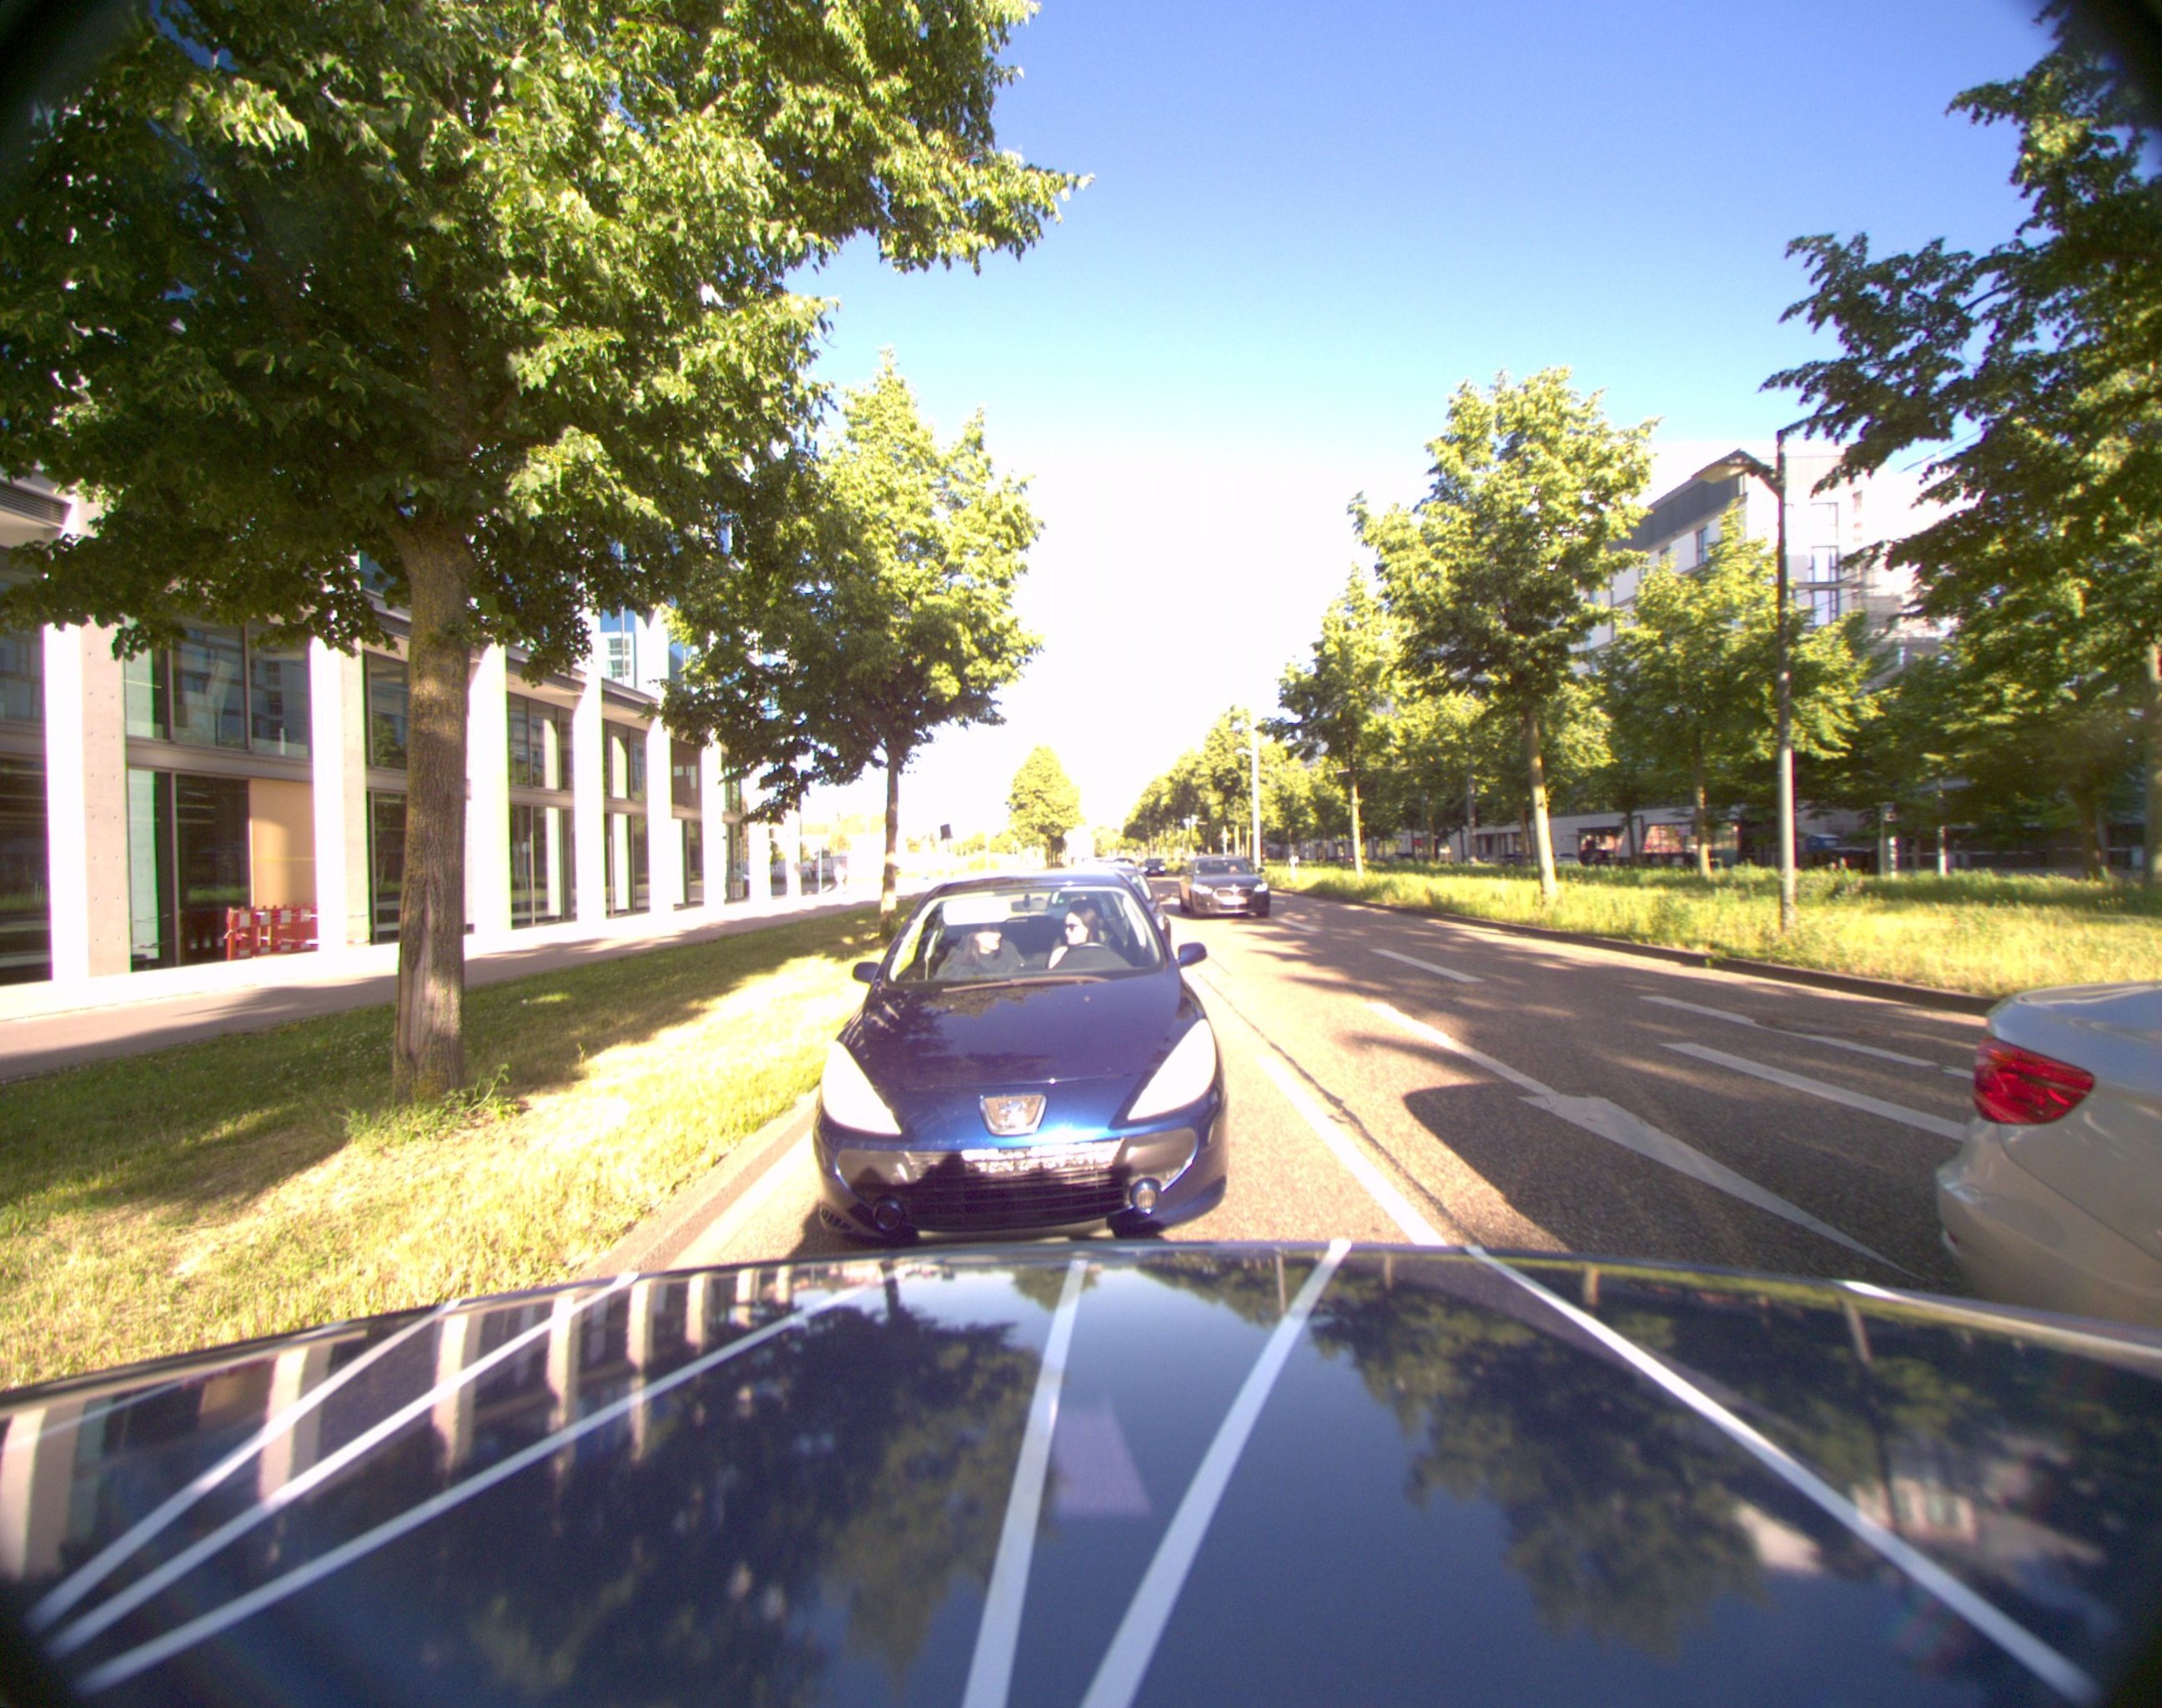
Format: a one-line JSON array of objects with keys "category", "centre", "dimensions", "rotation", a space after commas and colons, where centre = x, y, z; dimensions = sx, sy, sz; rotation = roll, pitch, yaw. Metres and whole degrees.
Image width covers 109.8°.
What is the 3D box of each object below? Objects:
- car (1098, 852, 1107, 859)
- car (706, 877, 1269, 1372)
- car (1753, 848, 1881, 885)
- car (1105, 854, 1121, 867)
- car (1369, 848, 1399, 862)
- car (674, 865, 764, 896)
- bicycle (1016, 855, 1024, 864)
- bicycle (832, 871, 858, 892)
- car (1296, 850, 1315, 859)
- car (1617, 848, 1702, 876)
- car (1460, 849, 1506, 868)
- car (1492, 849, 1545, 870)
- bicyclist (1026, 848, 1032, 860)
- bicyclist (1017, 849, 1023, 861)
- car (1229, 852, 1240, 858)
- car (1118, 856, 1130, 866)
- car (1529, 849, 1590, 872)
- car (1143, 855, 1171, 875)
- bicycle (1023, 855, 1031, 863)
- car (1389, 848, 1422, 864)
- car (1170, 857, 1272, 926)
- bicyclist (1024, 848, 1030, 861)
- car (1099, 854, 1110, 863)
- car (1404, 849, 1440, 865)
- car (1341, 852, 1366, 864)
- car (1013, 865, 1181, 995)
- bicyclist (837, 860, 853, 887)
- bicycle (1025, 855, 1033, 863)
[{"category": "car", "centre": [4.767, 0.364, 170.542], "dimensions": [1.879, 1.561, 4.344], "rotation": [-1, 0, 1]}, {"category": "car", "centre": [-0.285, 0.978, 4.785], "dimensions": [1.846, 1.473, 4.481], "rotation": [-2, 0, 1]}, {"category": "car", "centre": [34.084, 0.542, 35.361], "dimensions": [1.951, 1.588, 4.184], "rotation": [-1, 0, 1]}, {"category": "car", "centre": [3.742, 0.769, 89.847], "dimensions": [1.724, 1.516, 4.000], "rotation": [-1, 0, 1]}, {"category": "car", "centre": [35.496, 0.143, 89.034], "dimensions": [1.884, 1.588, 4.184], "rotation": [-1, 0, 1]}, {"category": "car", "centre": [-20.044, 1.433, 42.156], "dimensions": [3.996, 1.569, 2.000], "rotation": [-1, 0, 3]}, {"category": "bicycle", "centre": [-10.073, 0.930, 125.450], "dimensions": [0.931, 1.355, 4.000], "rotation": [-1, 0, 1]}, {"category": "bicycle", "centre": [-13.468, 1.541, 43.367], "dimensions": [0.593, 1.149, 1.922], "rotation": [1, 0, -44]}, {"category": "car", "centre": [36.603, 0.014, 124.162], "dimensions": [1.998, 1.387, 4.000], "rotation": [-1, 0, 1]}, {"category": "car", "centre": [34.411, 0.455, 45.359], "dimensions": [1.951, 1.588, 4.184], "rotation": [-1, 0, 1]}, {"category": "car", "centre": [35.151, 0.366, 66.523], "dimensions": [1.884, 1.588, 4.184], "rotation": [-1, 0, 1]}, {"category": "car", "centre": [35.185, 0.411, 61.240], "dimensions": [1.884, 1.588, 4.184], "rotation": [-1, 0, 1]}, {"category": "bicyclist", "centre": [-8.865, 0.055, 129.823], "dimensions": [0.931, 2.045, 1.121], "rotation": [-1, 1, 1]}, {"category": "bicyclist", "centre": [-10.082, 0.171, 125.460], "dimensions": [0.931, 2.045, 1.121], "rotation": [-1, 1, 1]}, {"category": "car", "centre": [36.105, 0.175, 179.241], "dimensions": [1.998, 1.387, 4.001], "rotation": [-1, 0, 4]}, {"category": "car", "centre": [6.911, 1.156, 122.554], "dimensions": [1.878, 1.577, 4.344], "rotation": [-1, 0, 2]}, {"category": "car", "centre": [34.898, 0.478, 55.545], "dimensions": [1.884, 1.588, 4.184], "rotation": [-1, 0, 1]}, {"category": "car", "centre": [5.852, 0.814, 59.170], "dimensions": [1.878, 1.415, 4.344], "rotation": [-1, 0, 2]}, {"category": "bicycle", "centre": [-8.893, 0.853, 125.758], "dimensions": [0.931, 1.355, 4.000], "rotation": [-1, 0, 1]}, {"category": "car", "centre": [35.439, 0.199, 83.113], "dimensions": [1.884, 1.588, 4.184], "rotation": [-1, 0, 1]}, {"category": "car", "centre": [3.378, 0.848, 19.063], "dimensions": [1.861, 1.482, 4.000], "rotation": [-1, 0, 1]}, {"category": "bicyclist", "centre": [-8.914, 0.095, 125.662], "dimensions": [0.931, 2.045, 1.121], "rotation": [-1, 1, 1]}, {"category": "car", "centre": [4.528, 0.897, 146.274], "dimensions": [1.878, 1.561, 4.344], "rotation": [-1, 0, 2]}, {"category": "car", "centre": [35.026, 0.269, 78.205], "dimensions": [1.884, 1.588, 4.184], "rotation": [-1, 0, 1]}, {"category": "car", "centre": [35.378, 0.519, 98.845], "dimensions": [1.998, 1.387, 4.001], "rotation": [-1, 0, 4]}, {"category": "car", "centre": [0.221, 0.955, 11.464], "dimensions": [1.998, 1.437, 4.622], "rotation": [-1, 0, 1]}, {"category": "bicyclist", "centre": [-13.460, 1.110, 43.360], "dimensions": [0.593, 1.530, 0.697], "rotation": [1, 0, -44]}, {"category": "bicycle", "centre": [-8.863, 0.814, 129.912], "dimensions": [0.931, 1.355, 4.000], "rotation": [-1, 0, 1]}]
